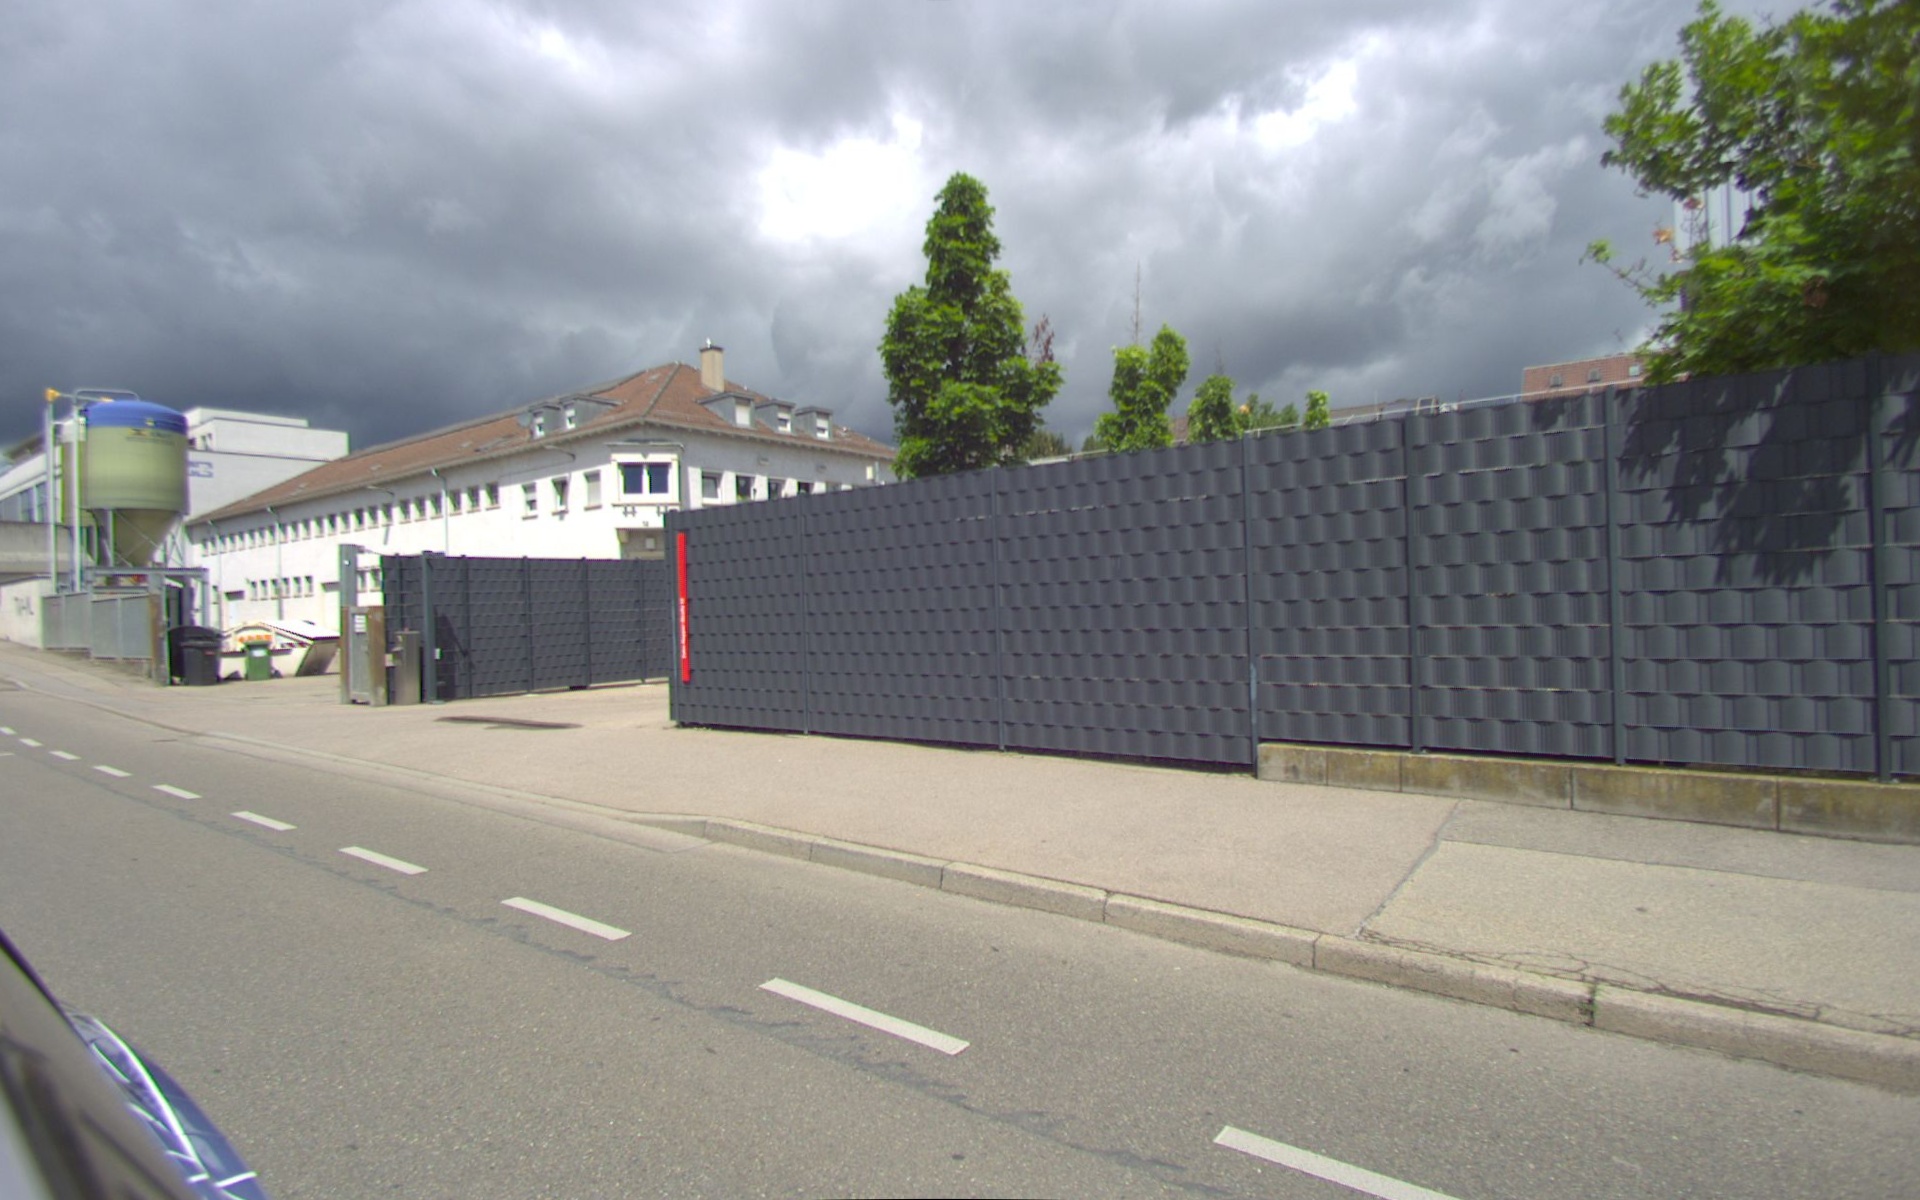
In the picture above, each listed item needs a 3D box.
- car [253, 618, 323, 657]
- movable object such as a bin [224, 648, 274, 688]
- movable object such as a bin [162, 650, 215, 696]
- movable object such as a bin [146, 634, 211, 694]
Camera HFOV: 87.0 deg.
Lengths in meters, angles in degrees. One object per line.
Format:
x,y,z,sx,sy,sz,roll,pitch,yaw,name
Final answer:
-33.396,1.830,50.256,4.100,1.649,1.788,1,2,39,car
-18.752,1.783,26.699,0.852,1.009,0.730,-2,-1,21,movable object such as a bin
-18.343,1.727,24.058,0.740,1.058,0.863,-2,-3,41,movable object such as a bin
-19.079,1.538,24.706,1.214,1.403,0.981,-2,-3,39,movable object such as a bin
